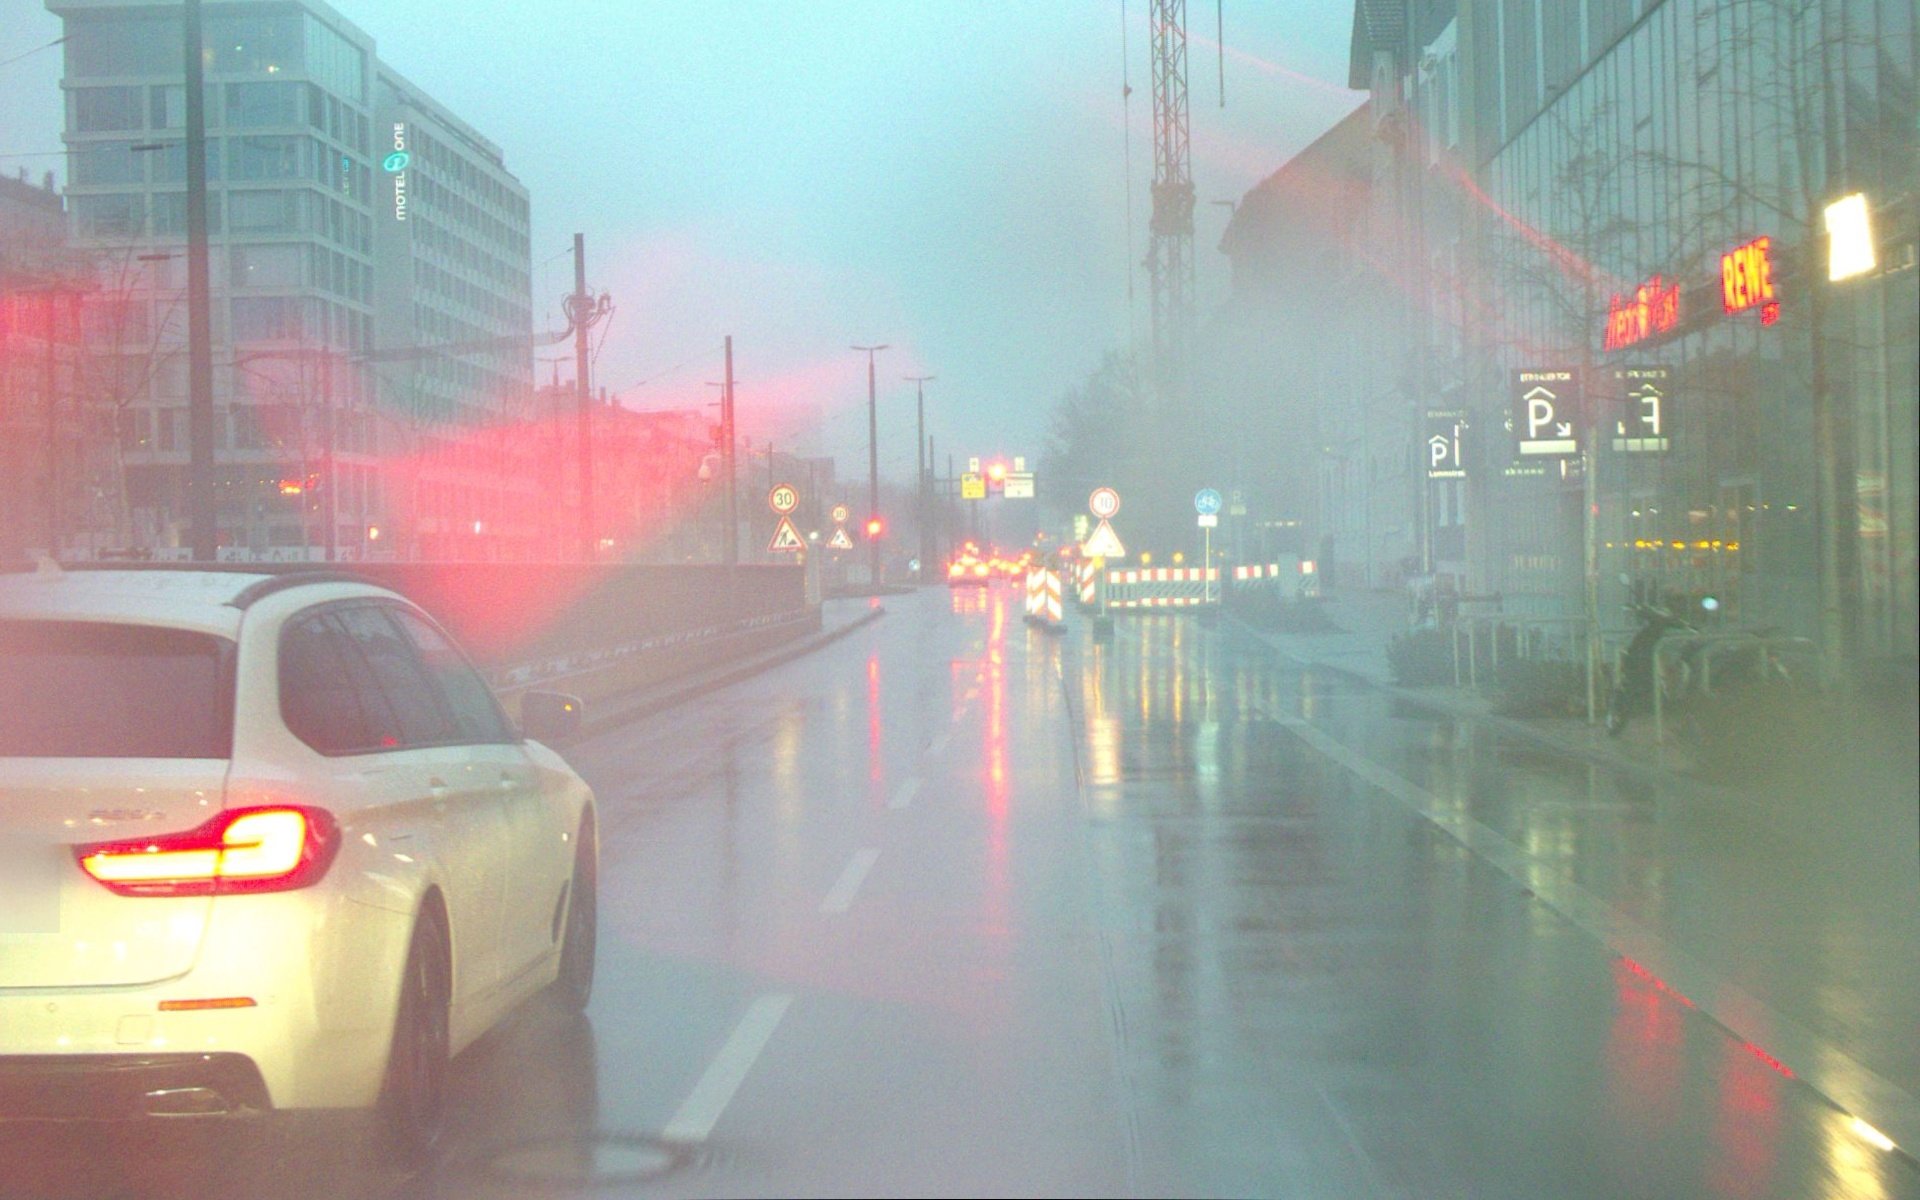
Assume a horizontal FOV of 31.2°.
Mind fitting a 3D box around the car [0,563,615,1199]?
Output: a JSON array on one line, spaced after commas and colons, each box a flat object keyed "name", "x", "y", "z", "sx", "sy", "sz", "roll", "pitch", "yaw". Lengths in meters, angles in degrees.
[{"name": "car", "x": -2.173, "y": 0.639, "z": 9.572, "sx": 1.852, "sy": 1.460, "sz": 4.947, "roll": 0, "pitch": 1, "yaw": 1}]

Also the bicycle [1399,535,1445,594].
[{"name": "bicycle", "x": 10.120, "y": -0.779, "z": 75.309, "sx": 0.682, "sy": 1.218, "sz": 1.905, "roll": -4, "pitch": 0, "yaw": 0}]

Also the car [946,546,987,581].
[{"name": "car", "x": 0.321, "y": -1.747, "z": 164.661, "sx": 1.901, "sy": 1.636, "sz": 4.000, "roll": 0, "pitch": 1, "yaw": 2}]

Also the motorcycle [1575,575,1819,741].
[{"name": "motorcycle", "x": 6.067, "y": 0.475, "z": 28.368, "sx": 1.908, "sy": 1.329, "sz": 0.594, "roll": -1, "pitch": 0, "yaw": 42}]
